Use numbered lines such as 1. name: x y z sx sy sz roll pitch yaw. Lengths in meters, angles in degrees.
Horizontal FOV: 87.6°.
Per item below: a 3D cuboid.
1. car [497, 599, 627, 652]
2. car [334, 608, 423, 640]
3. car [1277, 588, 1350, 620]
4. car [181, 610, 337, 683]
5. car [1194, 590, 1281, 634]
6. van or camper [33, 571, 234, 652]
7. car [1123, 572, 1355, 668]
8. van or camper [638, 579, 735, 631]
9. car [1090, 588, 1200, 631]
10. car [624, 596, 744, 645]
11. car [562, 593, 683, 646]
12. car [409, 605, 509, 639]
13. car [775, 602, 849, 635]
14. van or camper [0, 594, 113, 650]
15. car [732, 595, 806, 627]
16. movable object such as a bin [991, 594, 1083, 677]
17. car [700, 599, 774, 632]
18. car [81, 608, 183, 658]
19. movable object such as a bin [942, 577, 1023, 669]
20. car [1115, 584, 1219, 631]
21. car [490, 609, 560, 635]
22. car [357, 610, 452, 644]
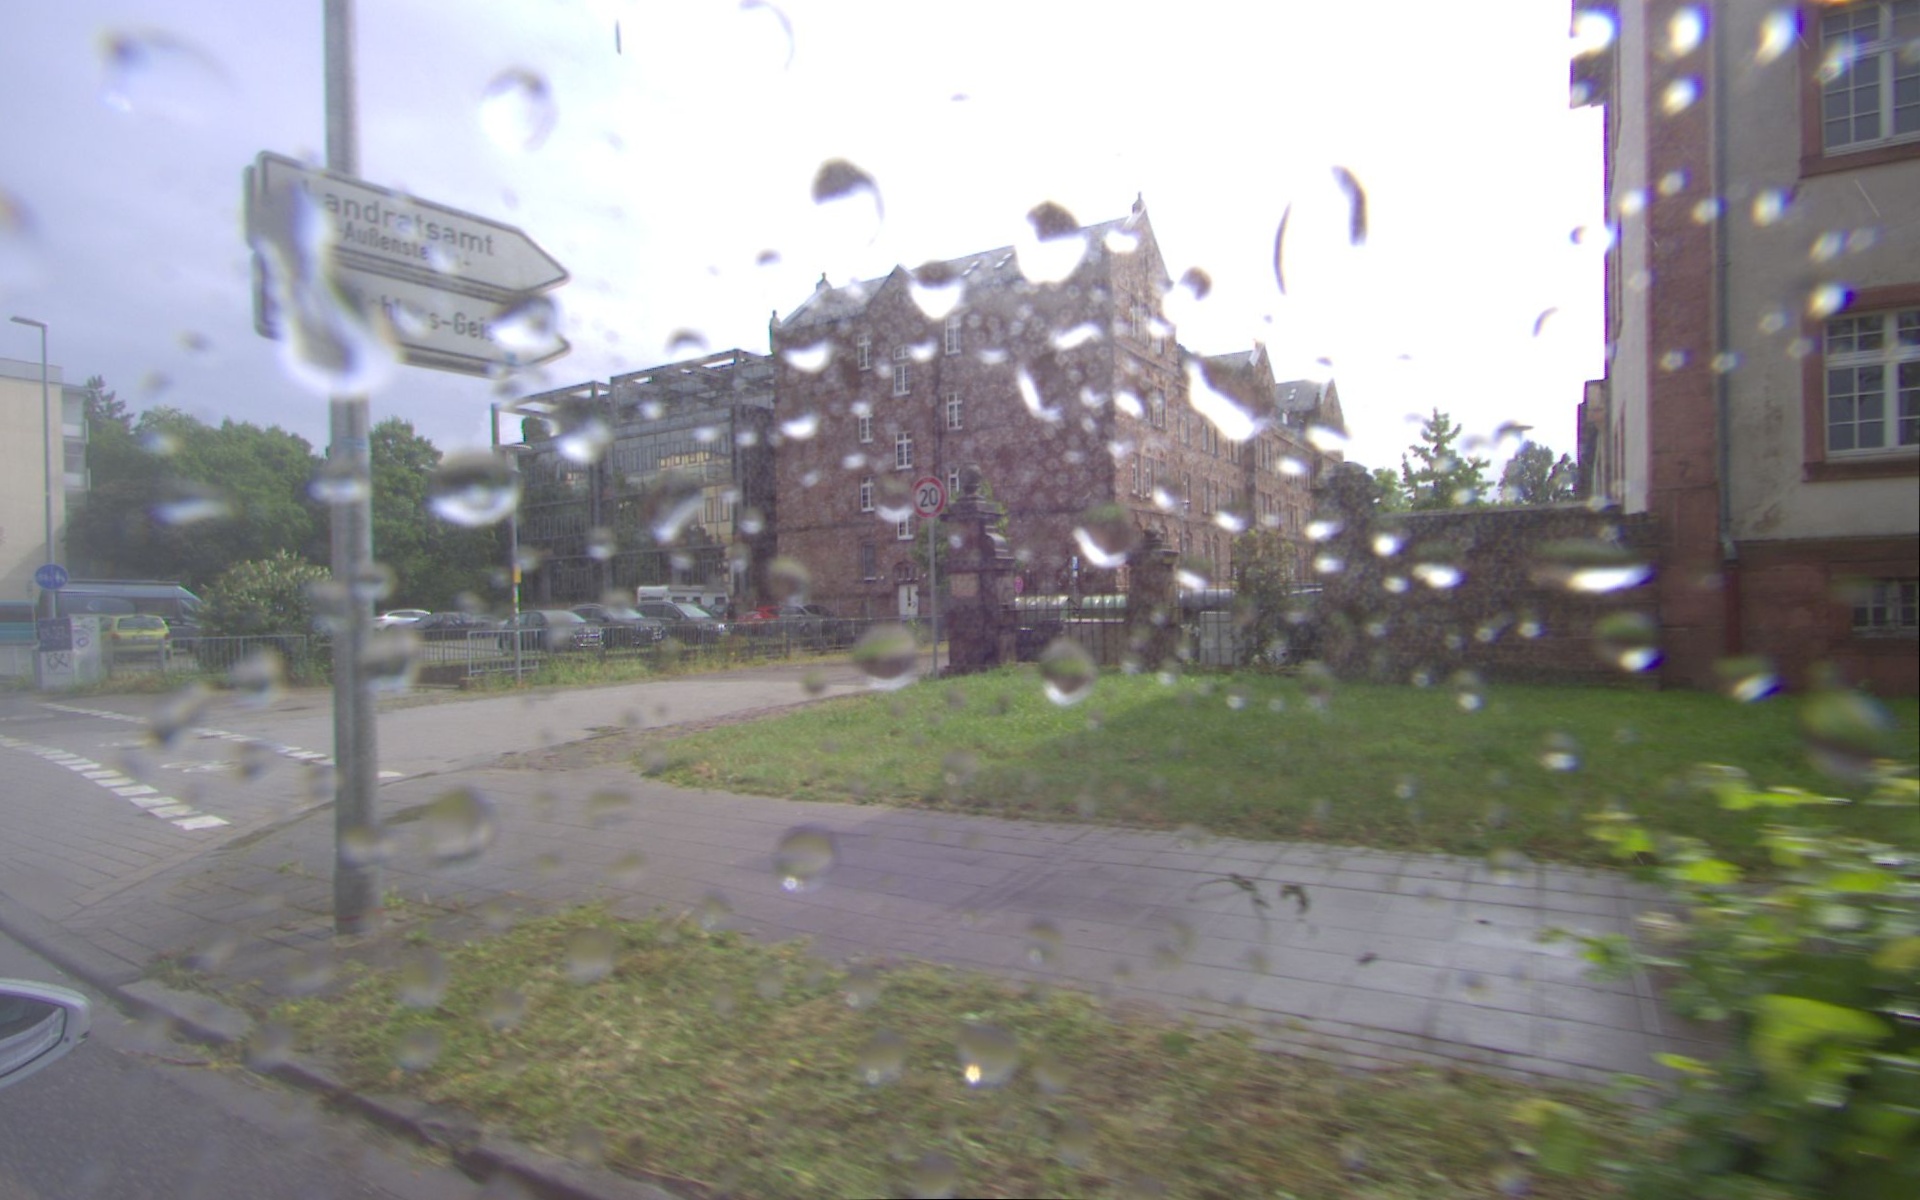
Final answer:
1. car: -12.741 0.796 31.980 4.366 1.547 1.822 -1 1 36
2. car: -30.128 1.207 51.962 1.617 1.506 3.655 -1 0 34
3. car: 20.833 0.254 59.086 3.755 1.671 1.750 -3 -3 34
4. car: -18.619 1.208 26.582 4.176 1.773 1.800 -1 1 31
5. car: 13.626 0.638 49.262 3.755 2.032 1.750 -2 -3 34
6. van or camper: -28.865 0.402 35.152 2.145 2.587 4.987 -2 -1 32
7. car: 5.564 0.412 20.148 4.184 1.745 1.706 -1 0 33
8. van or camper: -14.324 0.316 52.696 2.225 2.517 4.780 -2 -3 31
9. car: 7.022 0.393 38.153 3.755 1.471 1.750 -3 -3 34
10. car: -10.192 0.756 36.884 4.362 1.701 1.848 -1 1 34
11. car: -11.707 0.673 34.634 4.367 1.701 1.846 -1 1 38
12. car: -23.774 1.022 47.642 1.649 1.484 3.964 -1 0 33
13. car: -7.325 0.904 49.797 1.649 1.545 3.657 -1 0 33
14. van or camper: -37.442 0.857 40.244 2.290 2.160 4.745 -1 0 35
15. car: -9.629 0.595 50.808 1.649 1.505 3.659 -1 -2 33
16. movable object such as a bin: 1.469 0.659 19.032 1.371 1.477 1.103 -1 2 33
17. car: -11.597 0.809 52.180 1.649 1.597 3.657 -1 0 33
18. car: -26.372 1.032 31.870 3.370 1.468 1.606 -1 1 35
19. movable object such as a bin: 0.377 0.375 16.891 1.081 1.477 0.797 -1 2 33
20. car: 8.344 0.351 40.483 3.755 1.712 1.750 -3 -3 34
21. car: -26.538 1.306 61.175 1.649 1.506 3.658 -1 0 33
22. car: -26.571 1.267 47.982 1.617 1.506 3.655 -1 0 34
